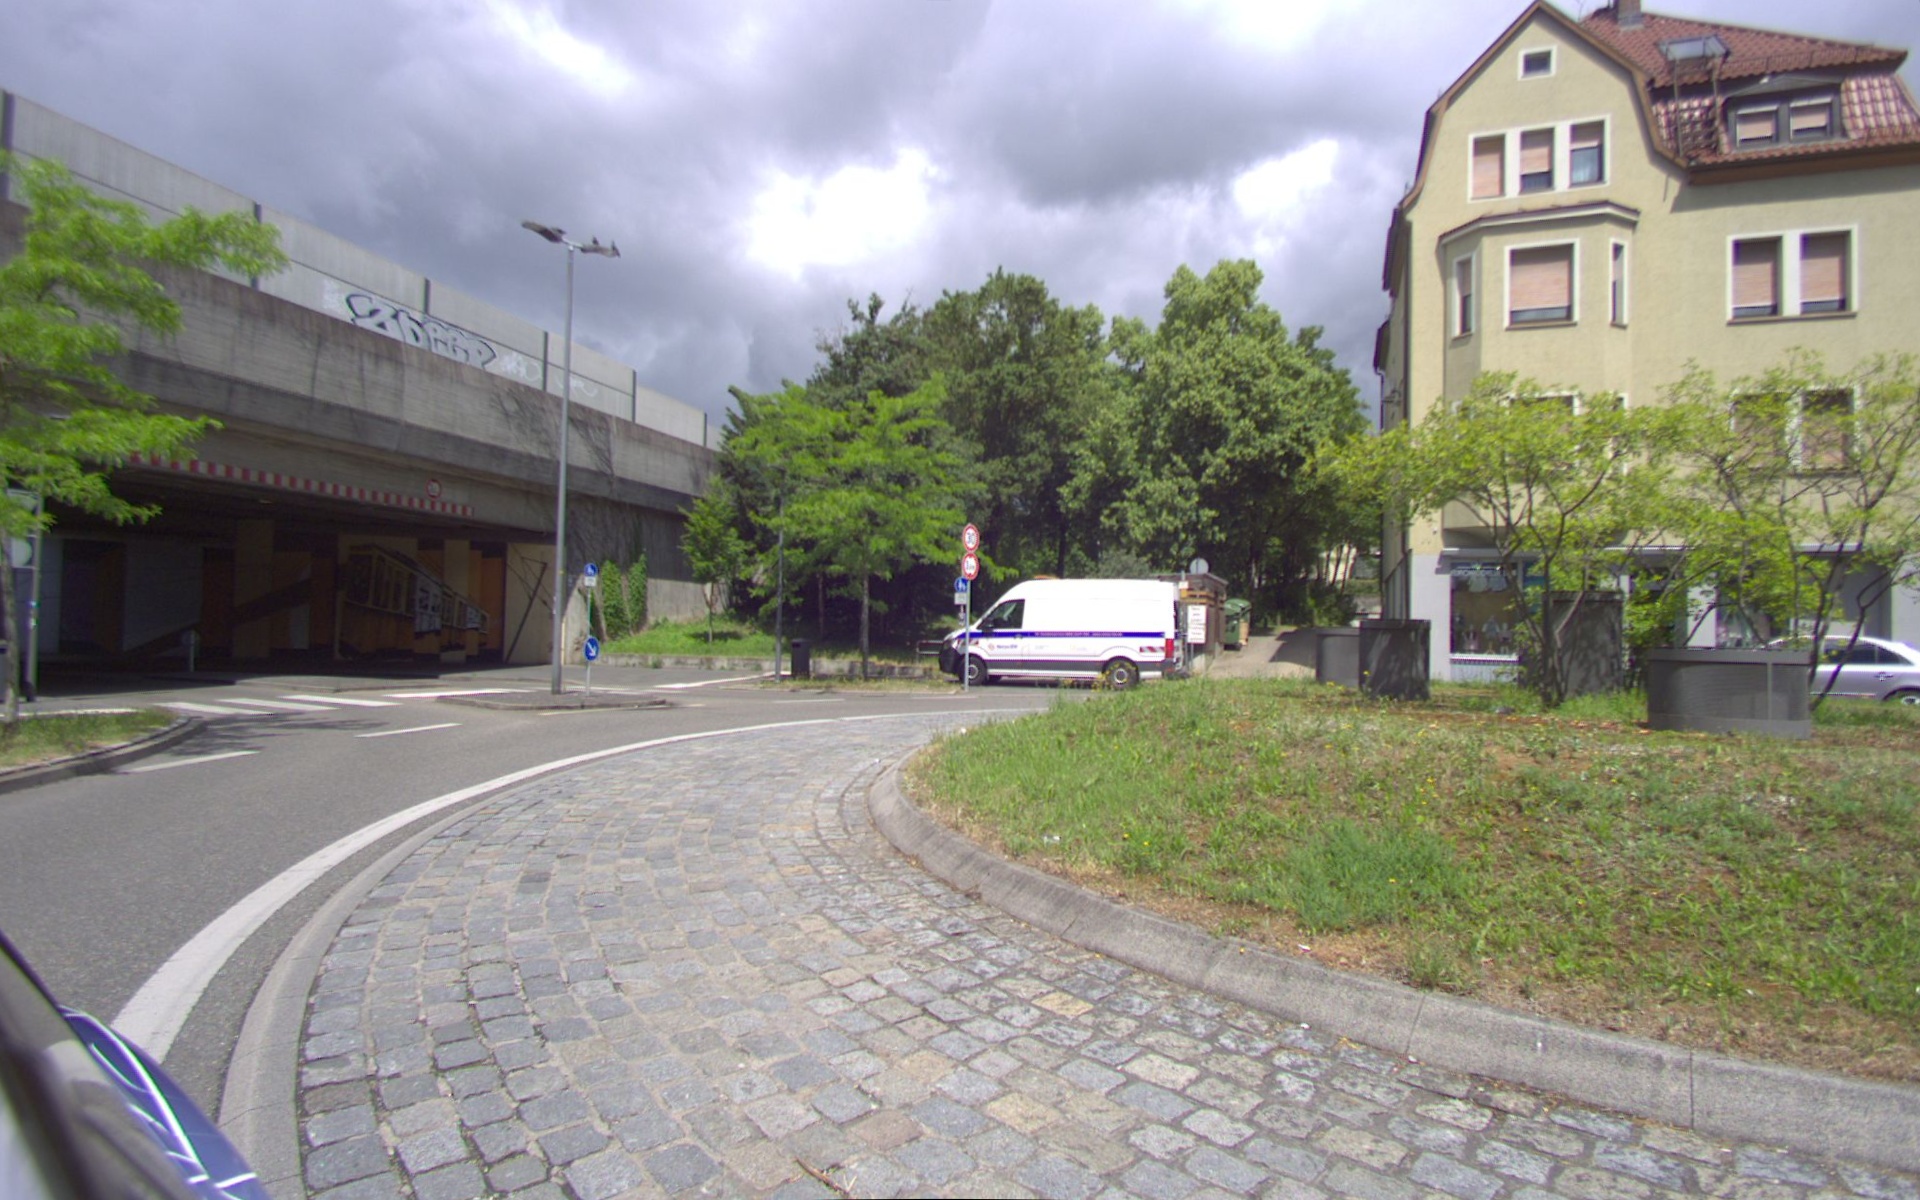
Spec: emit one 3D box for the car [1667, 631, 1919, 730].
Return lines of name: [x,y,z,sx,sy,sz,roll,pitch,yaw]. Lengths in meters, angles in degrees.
car: [13.651,1.224,16.013,3.989,1.364,1.695,0,-1,34]

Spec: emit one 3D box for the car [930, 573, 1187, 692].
car: [2.357,0.738,24.249,5.880,2.626,1.963,0,-1,18]
